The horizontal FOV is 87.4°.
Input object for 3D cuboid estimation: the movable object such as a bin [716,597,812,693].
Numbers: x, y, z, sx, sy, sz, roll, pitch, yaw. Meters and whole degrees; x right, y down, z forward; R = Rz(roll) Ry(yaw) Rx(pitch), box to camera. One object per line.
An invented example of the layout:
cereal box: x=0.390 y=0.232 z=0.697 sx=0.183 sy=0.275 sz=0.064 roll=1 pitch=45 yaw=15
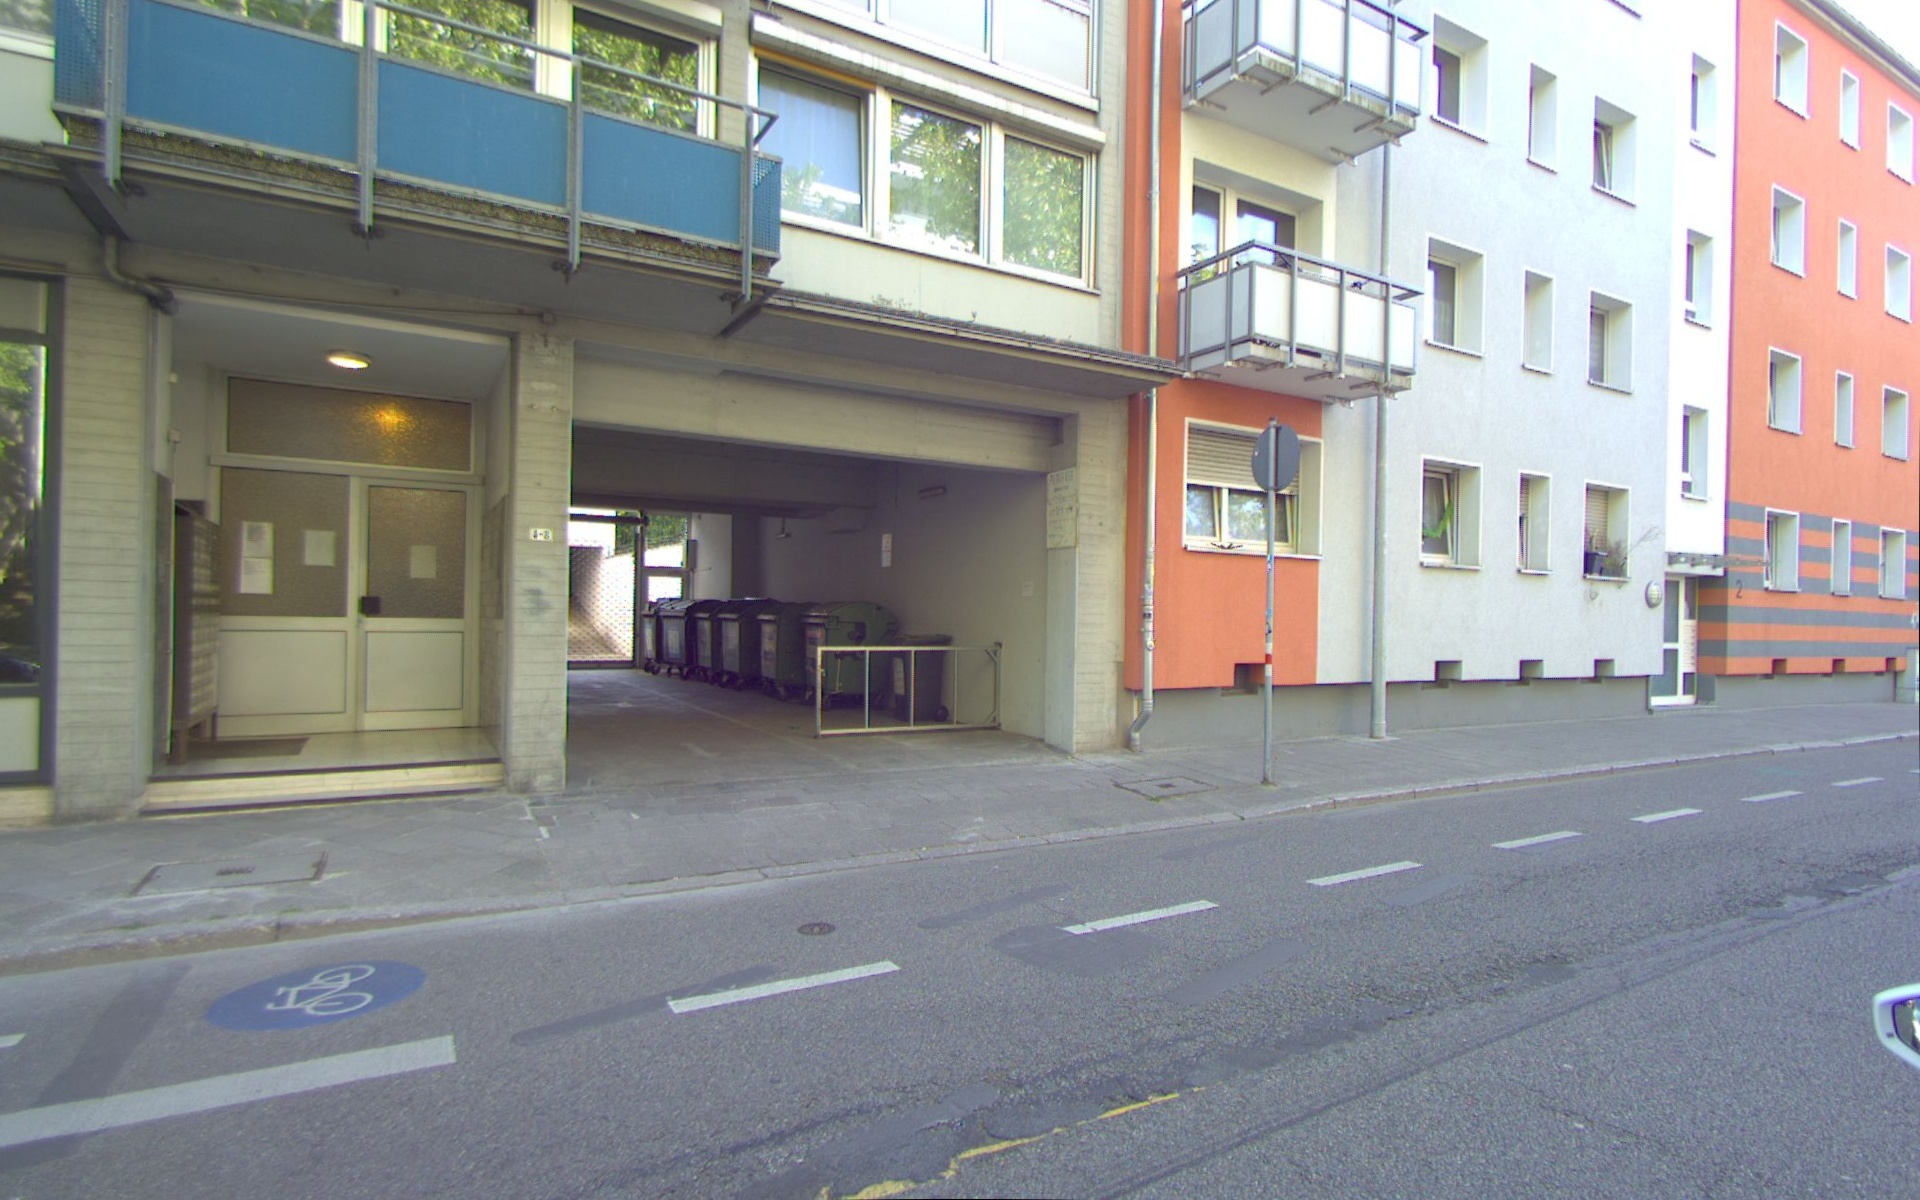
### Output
movable object such as a bin: x=-3.271 y=0.725 z=16.706 sx=1.264 sy=1.506 sz=1.155 roll=2 pitch=0 yaw=-28

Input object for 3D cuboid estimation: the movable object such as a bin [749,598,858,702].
movable object such as a bin: x=-2.374 y=0.733 z=15.169 sx=1.264 sy=1.493 sz=1.265 roll=2 pitch=-1 yaw=-28

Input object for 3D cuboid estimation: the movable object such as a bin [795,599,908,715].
movable object such as a bin: x=-1.508 y=0.754 z=13.816 sx=1.128 sy=1.484 sz=1.255 roll=2 pitch=0 yaw=-28

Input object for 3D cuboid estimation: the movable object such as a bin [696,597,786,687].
movable object such as a bin: x=-3.874 y=0.726 z=17.754 sx=1.264 sy=1.515 sz=1.155 roll=2 pitch=0 yaw=-28

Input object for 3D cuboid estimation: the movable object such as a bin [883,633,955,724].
movable object such as a bin: x=-0.509 y=0.959 z=12.464 sx=0.694 sy=1.061 sz=0.567 roll=2 pitch=0 yaw=-28

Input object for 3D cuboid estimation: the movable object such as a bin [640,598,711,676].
movable object such as a bin: x=-5.658 y=0.729 z=19.952 sx=1.128 sy=1.484 sz=1.129 roll=2 pitch=0 yaw=-28

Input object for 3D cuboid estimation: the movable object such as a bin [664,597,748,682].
movable object such as a bin: x=-4.739 y=0.718 z=18.697 sx=1.264 sy=1.506 sz=1.155 roll=2 pitch=0 yaw=-28
